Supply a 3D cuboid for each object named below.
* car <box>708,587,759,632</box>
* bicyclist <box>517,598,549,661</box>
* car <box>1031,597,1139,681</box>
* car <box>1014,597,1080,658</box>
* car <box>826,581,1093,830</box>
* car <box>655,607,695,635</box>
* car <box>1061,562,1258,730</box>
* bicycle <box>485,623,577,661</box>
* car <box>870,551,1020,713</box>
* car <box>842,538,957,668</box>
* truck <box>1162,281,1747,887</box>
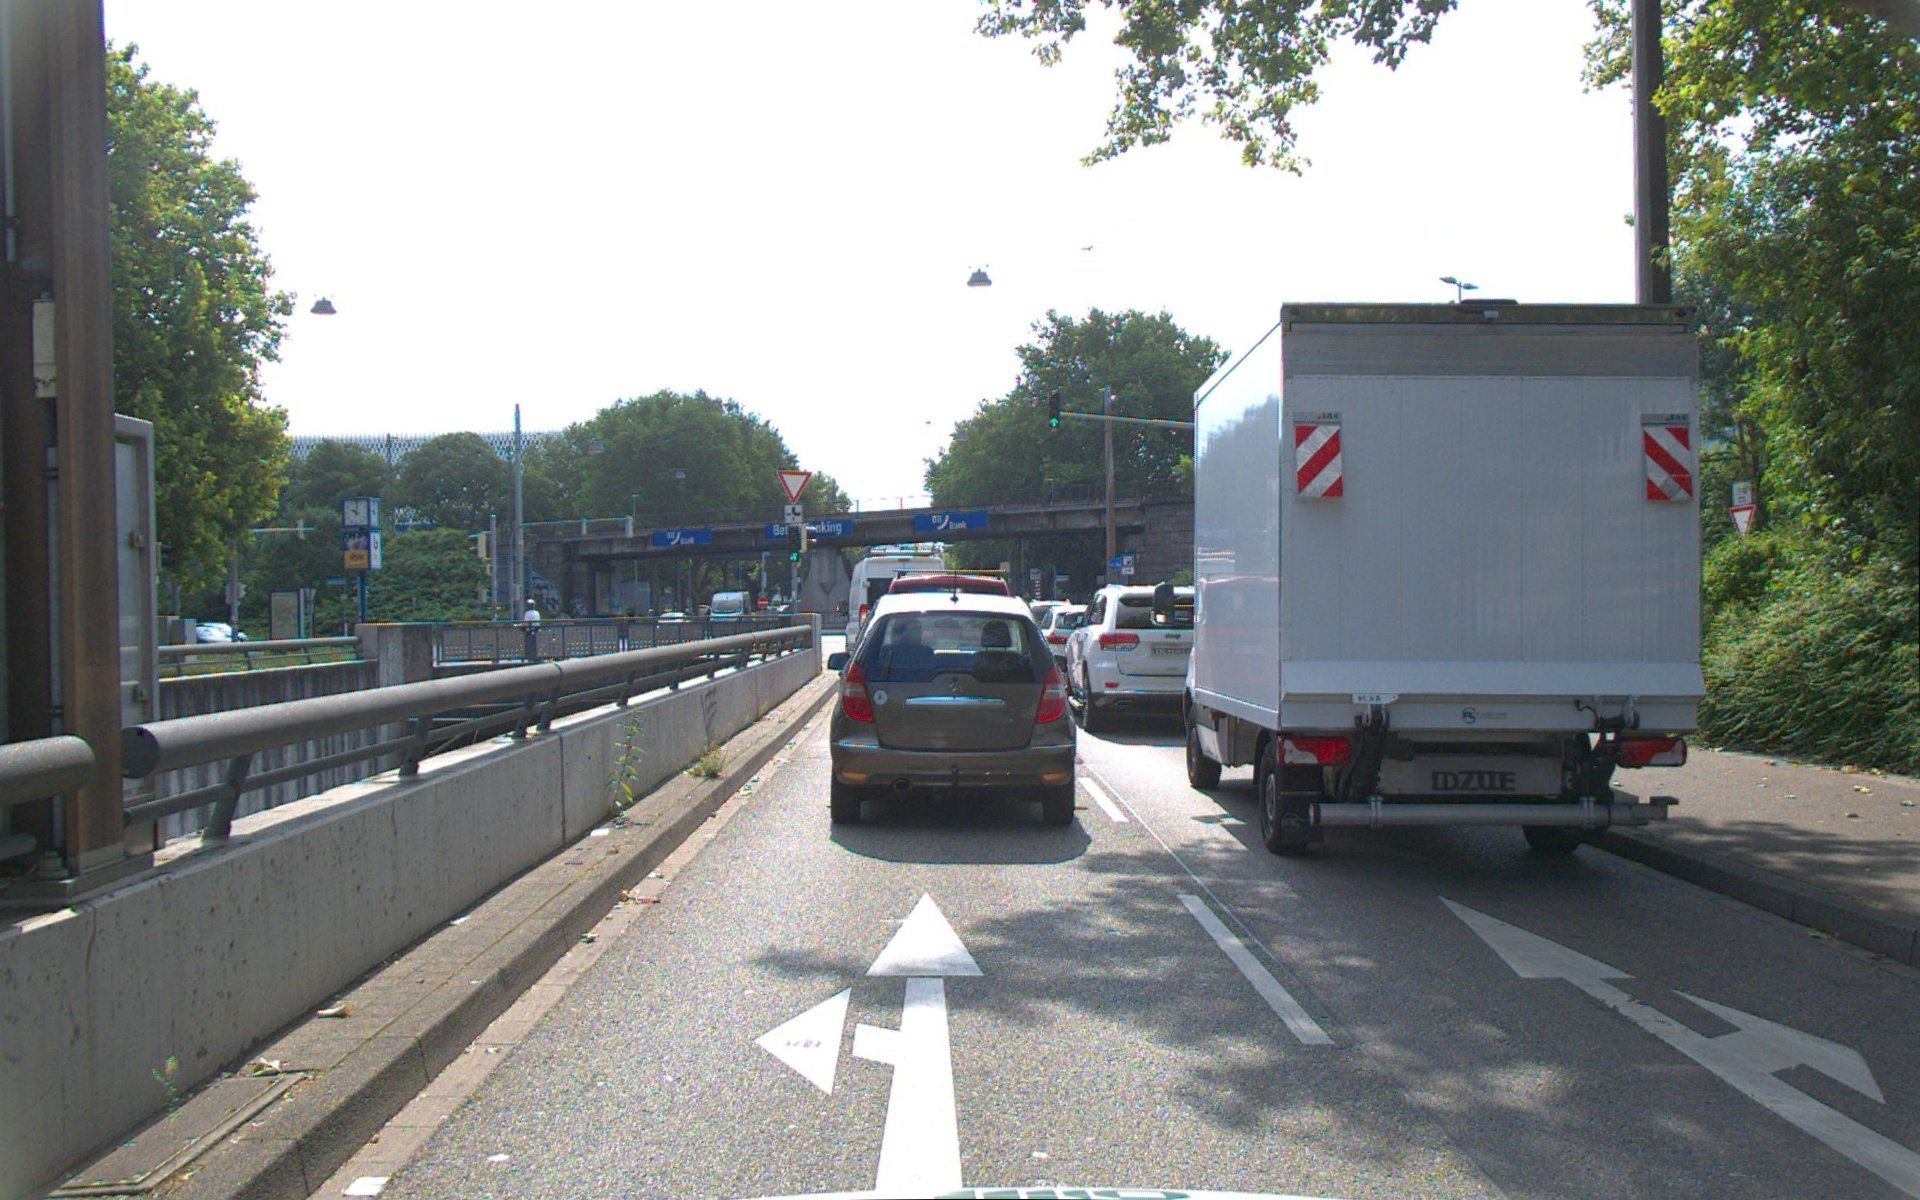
[{"bbox_3d":[-13.422,0.556,98.433,2.212,2.570,5.626,-1,0,0],"label":"car"},{"bbox_3d":[-9.719,0.664,37.651,0.499,1.429,0.626,-1,0,3],"label":"bicyclist"},{"bbox_3d":[2.401,0.755,32.533,1.814,1.548,3.616,0,-1,-1],"label":"car"},{"bbox_3d":[2.299,0.744,44.317,1.513,1.548,3.616,0,-1,-1],"label":"car"},{"bbox_3d":[-0.026,0.693,12.848,1.755,1.637,3.798,0,0,-1],"label":"car"},{"bbox_3d":[-16.485,1.210,95.874,1.668,1.502,3.998,-4,0,-2],"label":"car"},{"bbox_3d":[2.452,0.566,21.401,1.954,1.935,4.507,0,-1,-1],"label":"car"},{"bbox_3d":[-9.760,0.949,37.651,1.931,0.841,0.612,0,0,2],"label":"bicycle"},{"bbox_3d":[-0.223,0.431,23.440,1.916,2.052,4.675,0,-1,-1],"label":"car"},{"bbox_3d":[-1.465,0.113,38.036,2.156,2.774,4.922,0,-1,-8],"label":"car"},{"bbox_3d":[2.958,-0.071,11.693,2.396,3.176,6.028,0,0,1],"label":"truck"}]
